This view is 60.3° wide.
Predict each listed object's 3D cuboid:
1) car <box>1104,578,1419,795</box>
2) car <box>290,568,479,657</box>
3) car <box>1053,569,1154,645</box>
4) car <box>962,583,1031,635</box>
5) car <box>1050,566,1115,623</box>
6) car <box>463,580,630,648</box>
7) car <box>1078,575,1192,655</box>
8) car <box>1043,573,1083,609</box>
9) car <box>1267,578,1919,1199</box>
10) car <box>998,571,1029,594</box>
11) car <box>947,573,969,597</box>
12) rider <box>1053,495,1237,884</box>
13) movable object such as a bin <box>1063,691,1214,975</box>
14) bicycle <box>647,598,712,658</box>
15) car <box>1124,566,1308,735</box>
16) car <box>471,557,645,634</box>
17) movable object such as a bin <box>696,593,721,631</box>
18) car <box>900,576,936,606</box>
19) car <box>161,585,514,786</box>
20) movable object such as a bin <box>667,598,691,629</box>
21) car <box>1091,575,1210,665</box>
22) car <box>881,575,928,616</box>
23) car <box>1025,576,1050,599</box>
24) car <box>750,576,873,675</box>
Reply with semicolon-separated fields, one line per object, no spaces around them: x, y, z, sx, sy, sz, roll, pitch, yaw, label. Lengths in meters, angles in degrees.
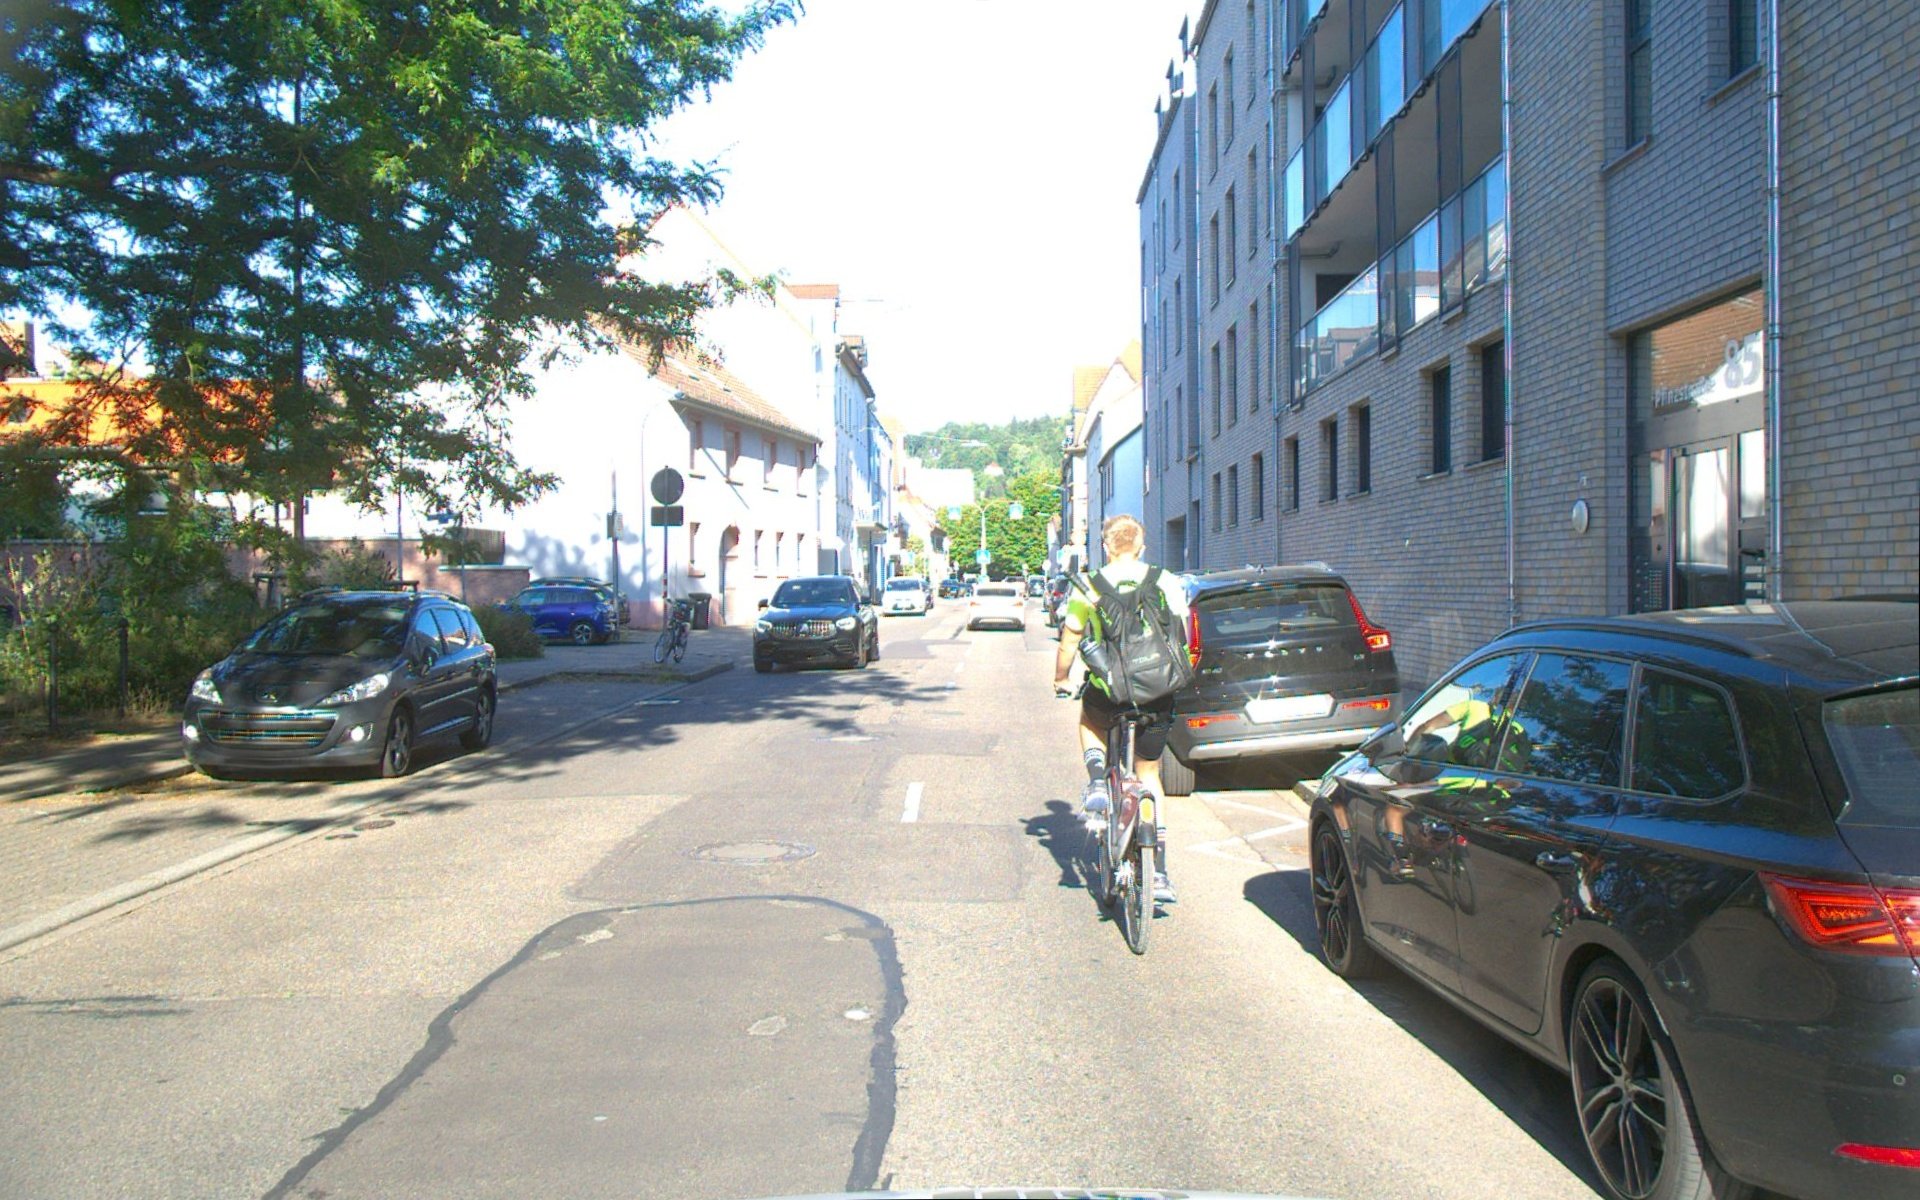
2.318;0.589;13.819;1.779;1.492;4.269;-1;1;-1;car
-14.652;0.298;42.288;3.908;1.524;2.002;-9;4;2;car
3.441;0.111;40.494;1.953;1.682;4.762;-1;1;-1;car
1.060;0.242;50.041;1.953;1.492;4.000;-1;1;-1;car
3.904;-0.212;53.399;1.816;1.664;4.624;-3;1;2;car
-10.523;0.346;42.317;3.689;1.556;2.001;-2;1;2;car
3.635;0.257;35.066;1.952;1.532;4.367;-1;1;0;car
4.765;-0.429;76.782;1.705;1.518;4.440;-3;1;2;car
2.419;0.709;5.449;1.663;1.493;4.717;-2;1;-3;car
3.759;-1.235;116.005;1.951;1.492;4.002;-1;1;4;car
-0.180;-1.339;147.508;1.953;2.049;4.000;0;1;0;car
0.798;0.377;7.401;0.640;1.589;1.083;2;-1;-1;rider
0.778;0.990;7.593;0.445;1.051;1.840;2;-1;-1;movable object such as a bin
-5.014;0.482;29.679;0.689;1.020;1.942;0;1;4;bicycle
2.930;0.487;19.802;1.850;1.742;4.777;-1;1;5;car
-11.150;-0.141;46.028;4.272;1.825;1.989;3;3;2;car
-7.535;0.347;49.573;0.586;1.113;0.751;0;0;2;movable object such as a bin
-2.208;-0.459;87.361;1.695;1.525;3.959;-1;0;1;car
-5.374;0.648;14.842;1.662;1.518;4.000;-1;1;-1;car
-8.232;0.379;48.475;0.586;0.887;0.606;-1;0;-1;movable object such as a bin
3.438;0.313;30.462;1.678;1.428;4.074;-4;1;1;car
-2.352;-0.226;70.815;1.953;1.676;5.221;0;1;-1;car
6.593;-1.089;141.543;1.969;1.885;4.001;0;1;0;car
-2.595;0.408;29.801;1.899;1.603;4.318;-1;1;-1;car
